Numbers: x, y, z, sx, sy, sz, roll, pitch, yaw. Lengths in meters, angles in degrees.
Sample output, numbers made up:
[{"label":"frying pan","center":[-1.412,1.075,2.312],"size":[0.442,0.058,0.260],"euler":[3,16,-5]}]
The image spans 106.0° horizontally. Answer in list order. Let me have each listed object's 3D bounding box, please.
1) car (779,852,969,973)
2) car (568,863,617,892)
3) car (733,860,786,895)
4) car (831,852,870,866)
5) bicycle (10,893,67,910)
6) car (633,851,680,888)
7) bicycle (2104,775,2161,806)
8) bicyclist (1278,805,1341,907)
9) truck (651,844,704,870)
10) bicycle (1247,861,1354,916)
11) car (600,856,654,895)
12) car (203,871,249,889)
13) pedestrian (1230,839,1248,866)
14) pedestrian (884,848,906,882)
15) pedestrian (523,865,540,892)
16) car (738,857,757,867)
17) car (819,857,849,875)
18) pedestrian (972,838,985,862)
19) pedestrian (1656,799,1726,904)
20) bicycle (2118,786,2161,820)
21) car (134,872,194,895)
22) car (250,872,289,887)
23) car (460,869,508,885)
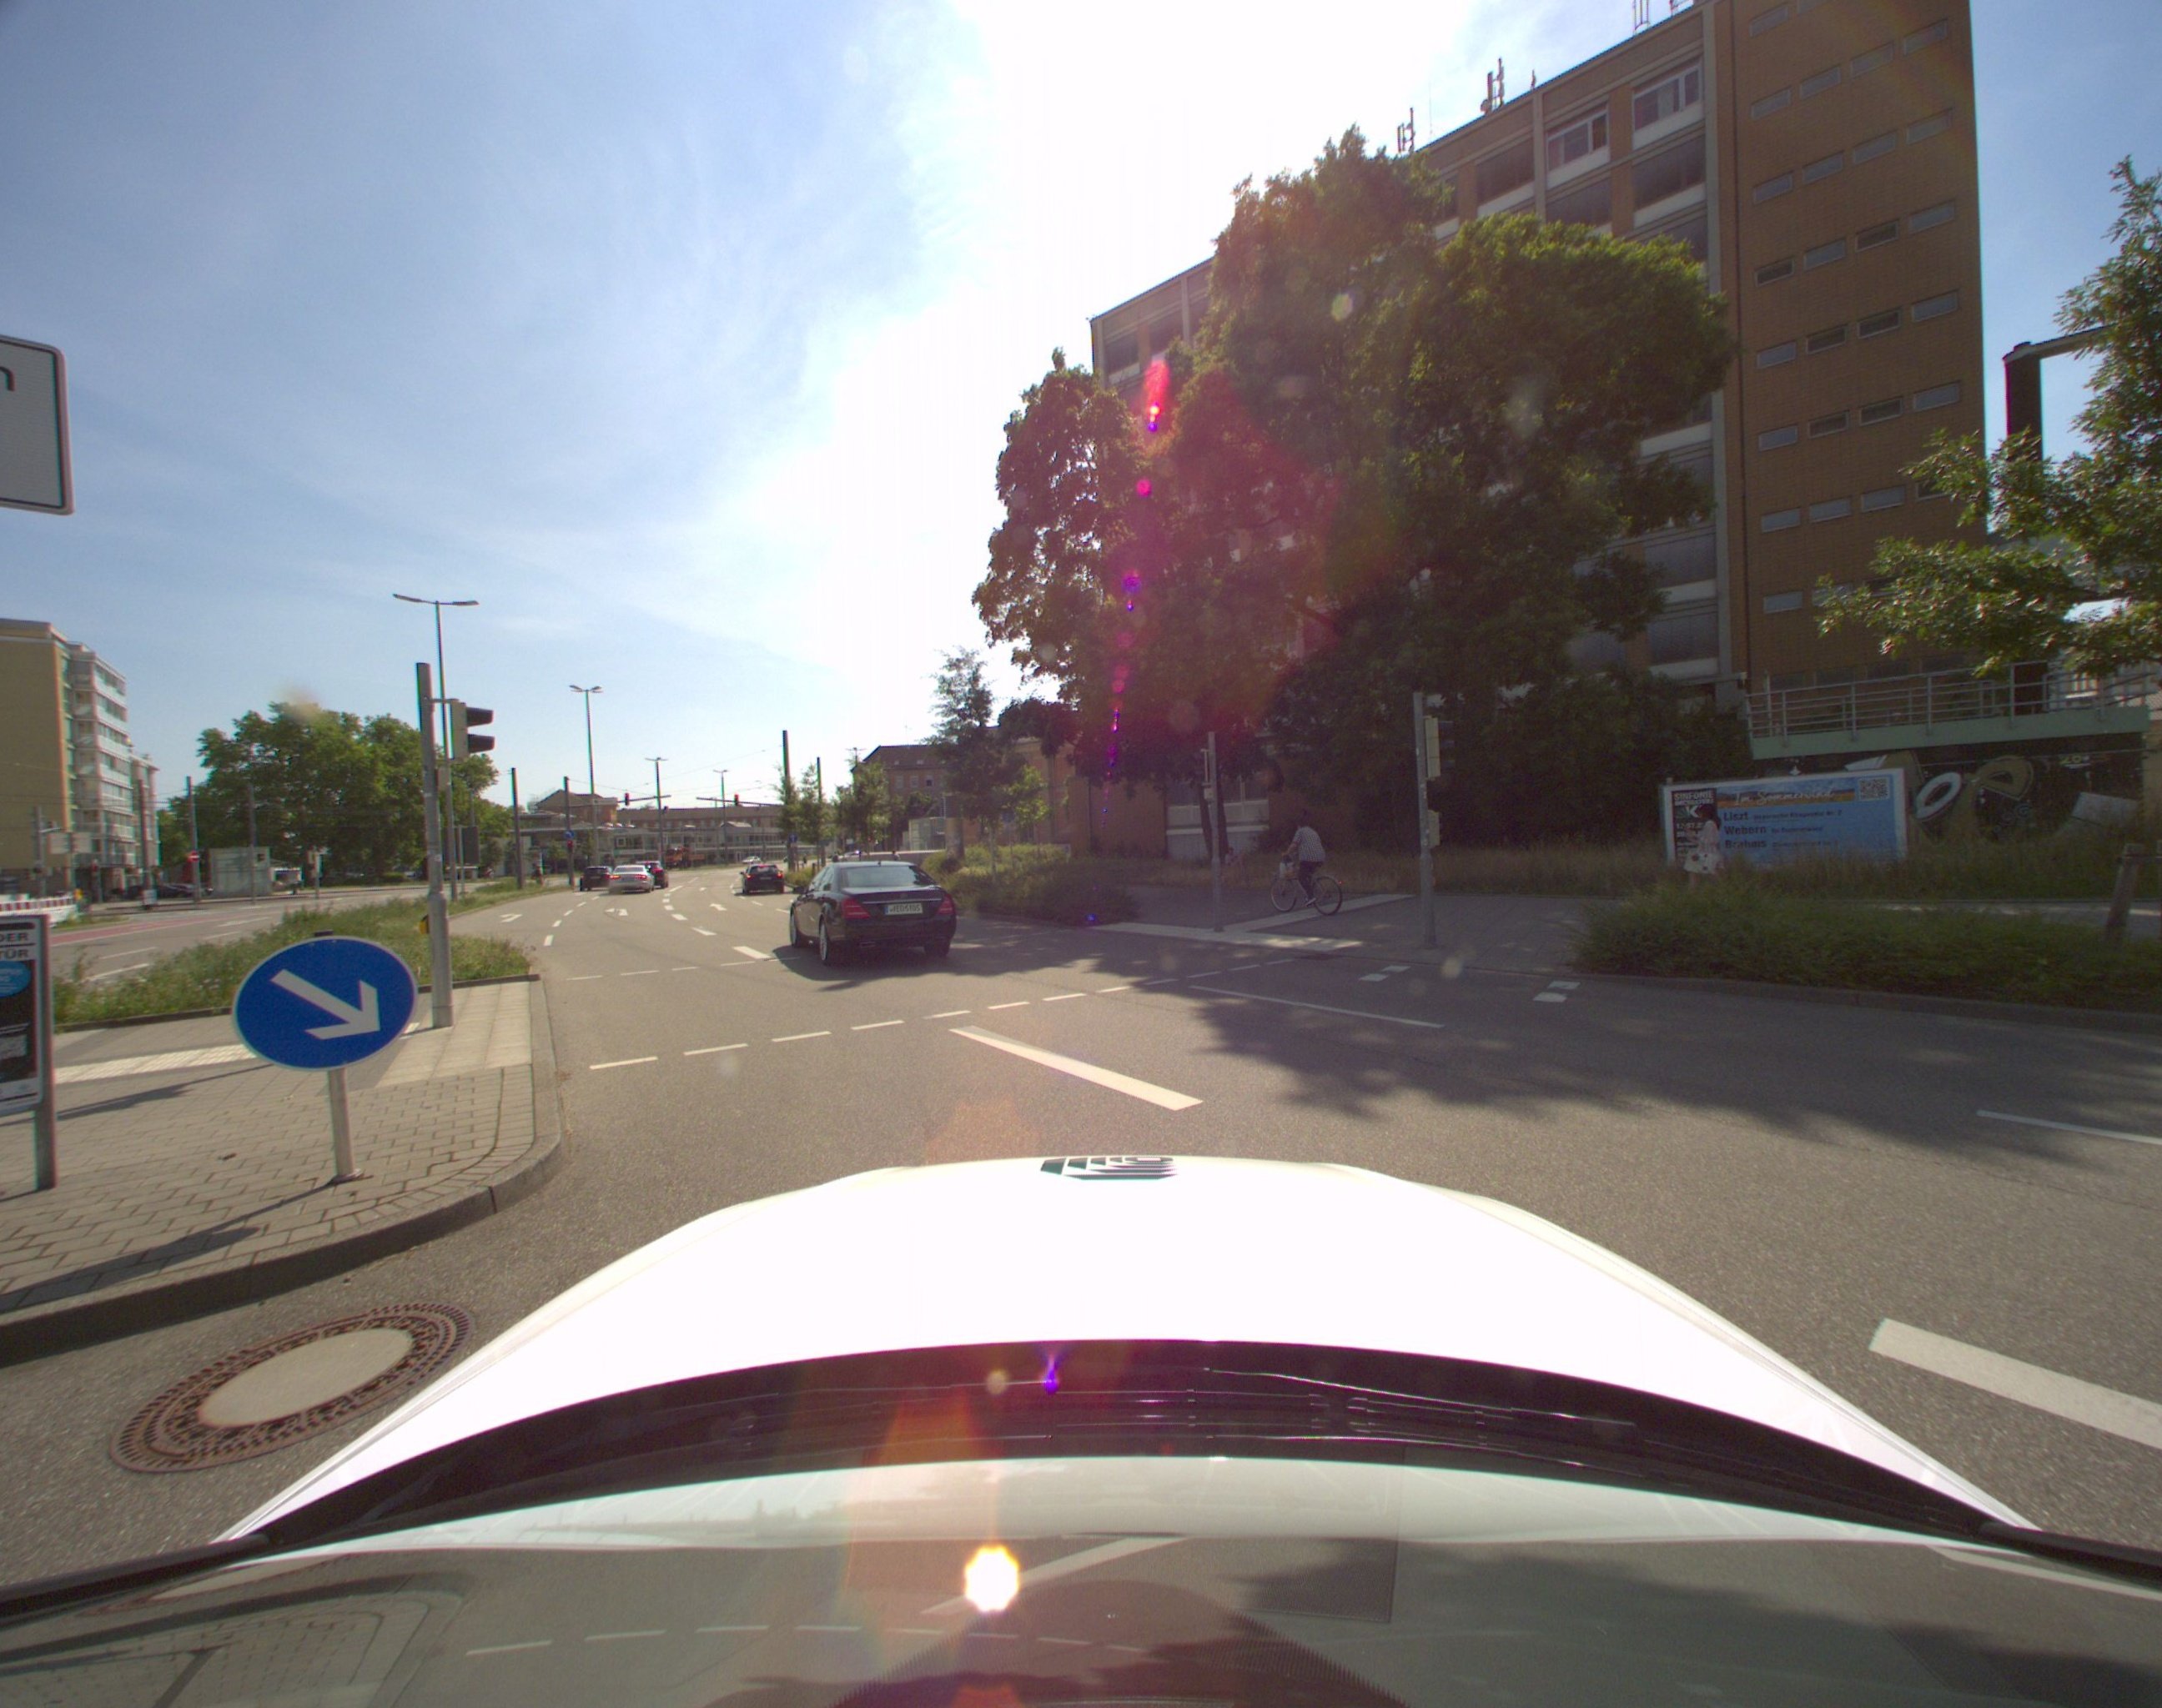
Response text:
[{"label":"car","center":[-3.579,0.844,13.347],"size":[1.870,1.530,4.670],"euler":[-3,0,-28]},{"label":"car","center":[-28.936,1.351,48.353],"size":[1.801,1.510,3.971],"euler":[-3,1,-21]},{"label":"car","center":[-15.347,1.100,38.750],"size":[1.805,1.510,3.962],"euler":[-2,0,-30]},{"label":"car","center":[-28.623,0.566,101.406],"size":[4.302,1.510,1.778],"euler":[-3,1,-45]},{"label":"bicycle","center":[-88.735,4.037,69.359],"size":[0.981,1.222,2.841],"euler":[1,3,44]},{"label":"car","center":[-25.483,0.912,48.980],"size":[2.001,2.013,3.972],"euler":[-3,1,-21]},{"label":"bicycle","center":[55.706,-3.340,42.446],"size":[2.795,1.480,0.847],"euler":[-2,1,37]},{"label":"bicyclist","center":[4.377,0.037,15.603],"size":[0.691,1.878,0.850],"euler":[-3,0,-37]},{"label":"truck","center":[-62.001,0.391,125.390],"size":[3.045,3.730,7.953],"euler":[-2,1,10]},{"label":"bicycle","center":[4.231,0.656,15.834],"size":[0.698,0.946,1.936],"euler":[-6,2,-37]},{"label":"car","center":[-23.611,1.079,42.459],"size":[2.003,1.815,3.968],"euler":[-3,1,-24]},{"label":"car","center":[-111.066,3.344,105.856],"size":[1.975,2.013,4.025],"euler":[1,3,42]},{"label":"pedestrian","center":[5.278,-0.043,27.178],"size":[0.395,0.891,0.424],"euler":[-3,1,-43]},{"label":"pedestrian","center":[-9.618,0.573,42.079],"size":[0.876,1.725,0.792],"euler":[-2,0,-29]},{"label":"pedestrian","center":[-34.519,1.536,51.151],"size":[0.650,1.661,0.659],"euler":[-2,0,-18]},{"label":"car","center":[-59.039,1.387,144.293],"size":[1.790,1.510,3.997],"euler":[-2,0,-2]},{"label":"car","center":[-23.240,1.138,76.673],"size":[1.792,1.510,4.269],"euler":[-2,1,-5]},{"label":"pedestrian","center":[-7.412,-0.279,58.816],"size":[0.654,1.661,0.642],"euler":[-3,0,-44]},{"label":"pedestrian","center":[9.581,-0.046,12.789],"size":[0.803,1.579,0.696],"euler":[-2,1,40]},{"label":"bicycle","center":[52.522,-2.519,39.382],"size":[2.795,1.558,0.847],"euler":[-2,1,37]},{"label":"car","center":[-94.219,2.990,83.750],"size":[1.975,2.013,4.025],"euler":[1,3,42]},{"label":"car","center":[-122.776,3.856,123.228],"size":[1.975,2.013,4.025],"euler":[1,3,42]},{"label":"car","center":[-64.930,2.527,88.608],"size":[4.022,1.510,1.778],"euler":[-3,1,-41]}]
